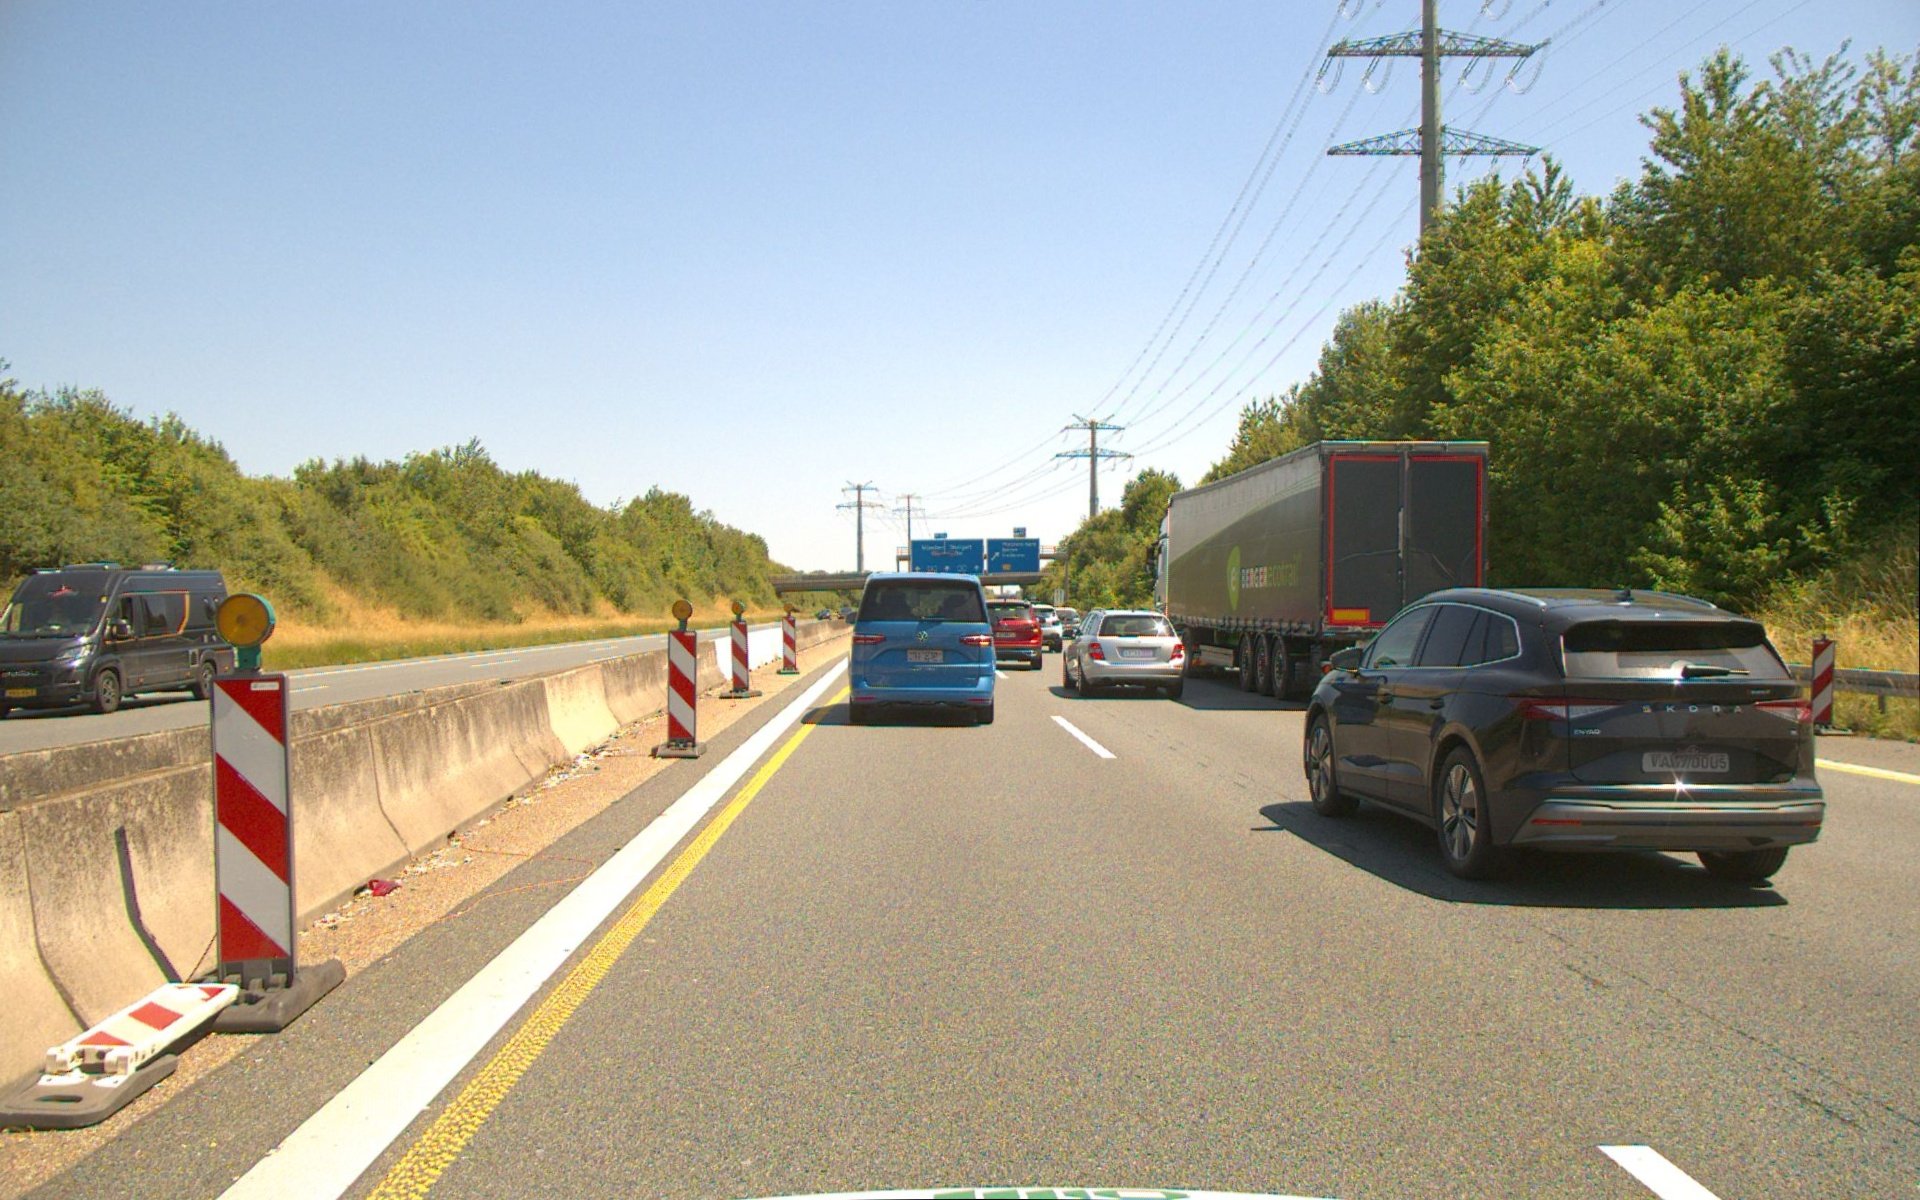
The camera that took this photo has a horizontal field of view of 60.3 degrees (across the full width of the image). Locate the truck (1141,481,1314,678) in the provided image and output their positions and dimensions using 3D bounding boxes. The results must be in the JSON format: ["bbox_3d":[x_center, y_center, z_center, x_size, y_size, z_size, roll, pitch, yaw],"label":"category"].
[{"bbox_3d":[5.993,-0.418,37.921,2.678,4.118,5.790,1,-1,-3],"label":"truck"}]

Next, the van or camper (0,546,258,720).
[{"bbox_3d":[-15.410,0.571,30.413,2.178,2.758,7.076,-3,0,-3],"label":"van or camper"}]

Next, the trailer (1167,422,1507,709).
[{"bbox_3d":[6.318,-0.461,30.636,2.727,4.118,13.104,1,0,-2],"label":"trailer"}]

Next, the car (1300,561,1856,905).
[{"bbox_3d":[3.546,0.680,10.457,1.667,1.684,4.427,1,0,-3],"label":"car"}]

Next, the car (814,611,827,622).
[{"bbox_3d":[-19.946,2.299,237.295,1.674,1.490,3.847,-2,0,-3],"label":"car"}]

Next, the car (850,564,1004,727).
[{"bbox_3d":[-0.500,0.569,22.288,1.837,1.945,4.357,1,0,-3],"label":"car"}]

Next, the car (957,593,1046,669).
[{"bbox_3d":[0.955,0.730,40.221,1.837,1.700,4.357,1,0,-3],"label":"car"}]

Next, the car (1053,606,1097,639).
[{"bbox_3d":[5.444,1.061,78.577,1.666,1.473,3.786,1,0,-2],"label":"car"}]

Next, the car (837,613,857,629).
[{"bbox_3d":[-12.005,2.226,176.123,1.825,1.516,4.492,-1,0,-1],"label":"car"}]

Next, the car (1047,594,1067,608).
[{"bbox_3d":[11.520,0.123,196.535,1.837,1.700,4.357,1,0,-3],"label":"car"}]

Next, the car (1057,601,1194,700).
[{"bbox_3d":[2.791,0.826,28.757,1.735,1.544,4.357,1,0,-3],"label":"car"}]

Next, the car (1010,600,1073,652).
[{"bbox_3d":[2.675,0.838,55.078,1.761,1.622,4.225,1,0,-2],"label":"car"}]

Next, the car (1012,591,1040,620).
[{"bbox_3d":[4.902,0.434,123.032,1.761,2.049,4.225,1,0,-2],"label":"car"}]
